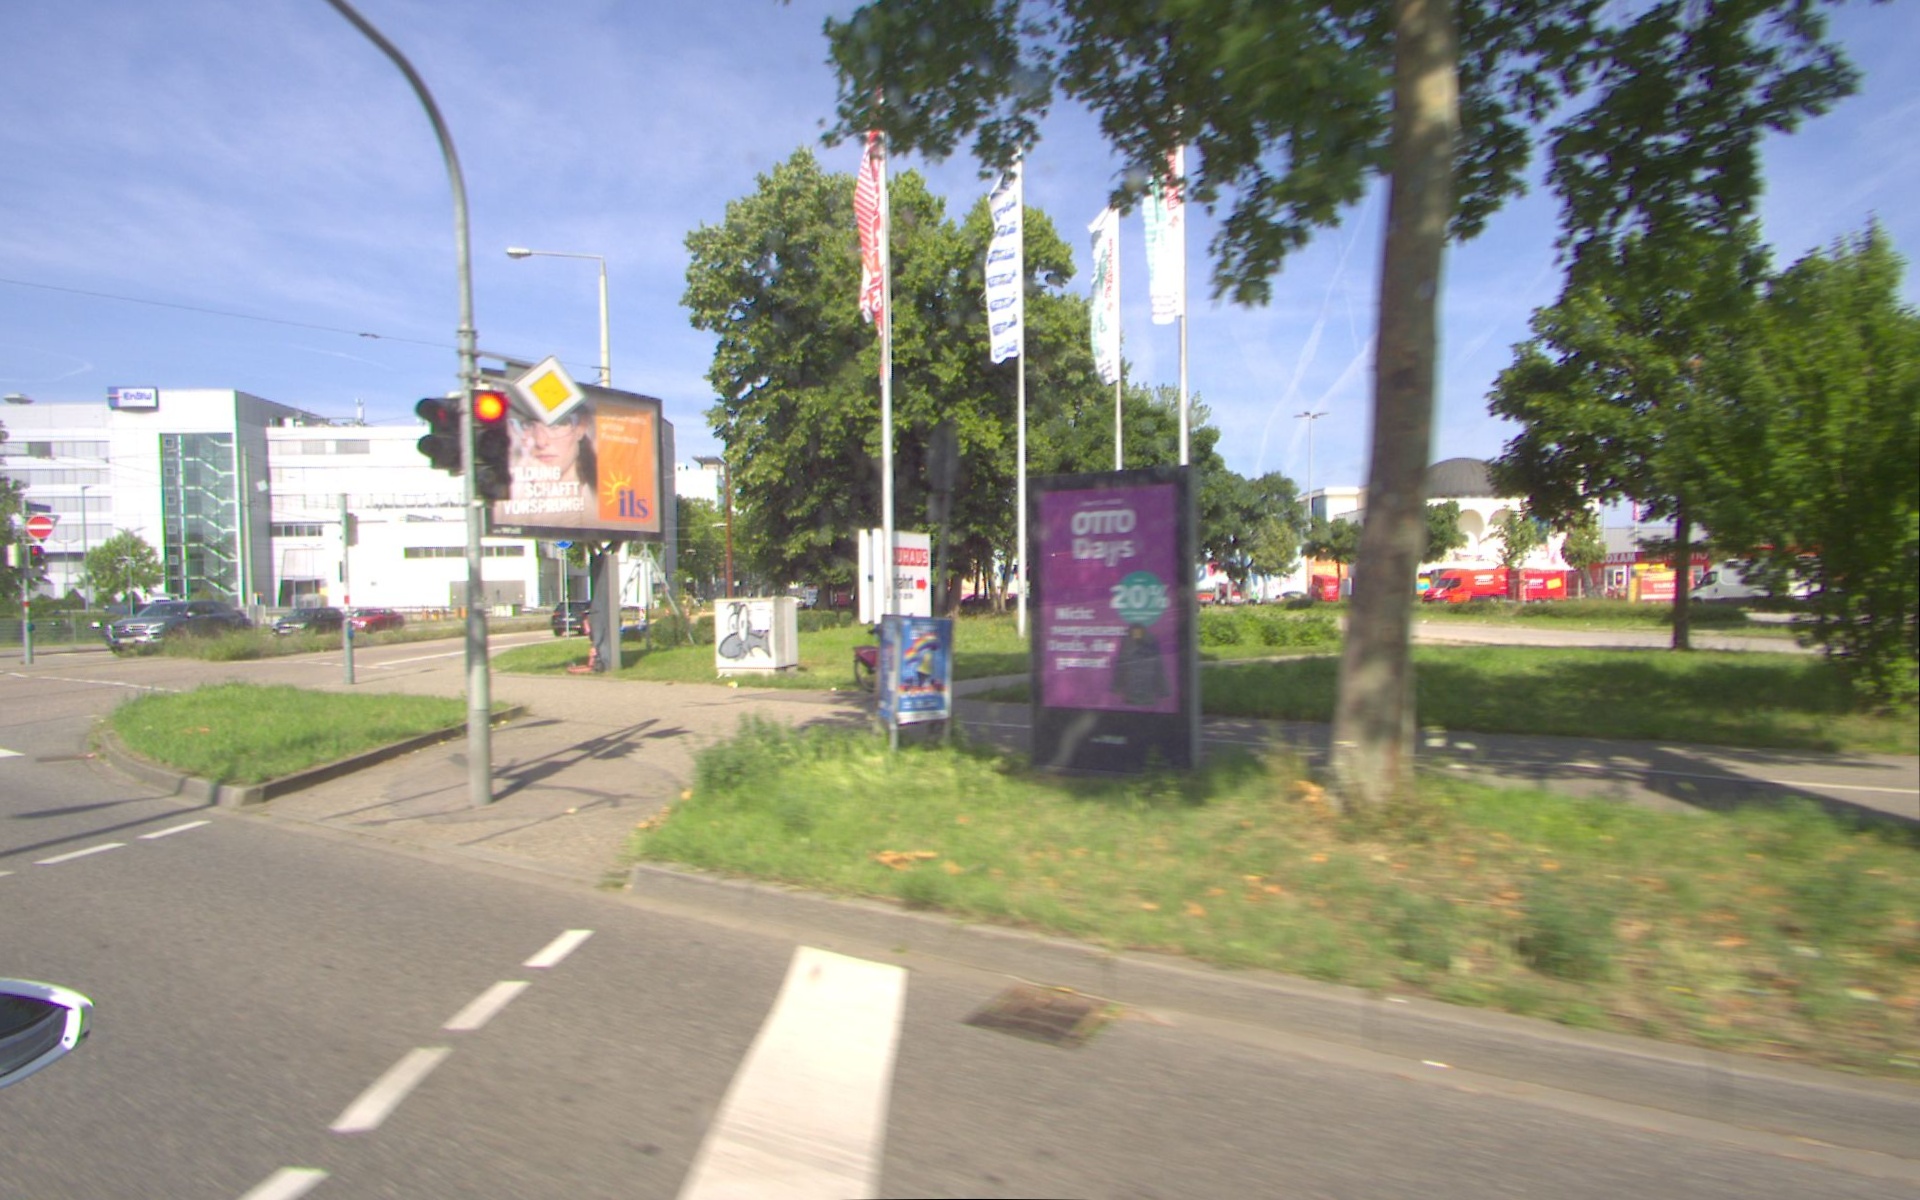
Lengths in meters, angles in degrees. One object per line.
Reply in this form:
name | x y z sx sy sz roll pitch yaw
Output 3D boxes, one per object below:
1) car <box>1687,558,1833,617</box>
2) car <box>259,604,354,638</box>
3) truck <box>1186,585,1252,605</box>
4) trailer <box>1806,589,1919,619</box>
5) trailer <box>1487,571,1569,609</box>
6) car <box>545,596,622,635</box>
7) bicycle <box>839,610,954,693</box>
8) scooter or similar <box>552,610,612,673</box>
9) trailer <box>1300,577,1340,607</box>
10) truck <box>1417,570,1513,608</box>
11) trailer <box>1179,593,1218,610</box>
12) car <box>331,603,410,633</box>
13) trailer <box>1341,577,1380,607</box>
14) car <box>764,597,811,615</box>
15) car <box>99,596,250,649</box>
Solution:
car | 38.064 -0.579 47.881 1.980 2.576 5.686 -3 0 -6
car | -31.202 0.965 47.963 1.747 1.463 4.625 -1 0 -4
truck | 25.425 -0.501 98.455 5.889 1.855 2.188 0 -1 -3
trailer | 38.536 0.148 42.297 2.029 1.137 4.030 -3 0 -3
trailer | 36.889 -0.641 65.098 4.325 2.409 1.751 0 2 -1
car | -15.768 0.611 42.166 1.815 1.530 4.393 -1 0 -4
bicycle | -0.943 0.753 15.262 1.771 1.123 0.499 -3 2 -40
scooter or similar | -7.070 0.772 18.716 1.107 1.141 0.423 0 1 31
trailer | 29.952 -0.653 83.386 1.560 2.409 4.409 0 1 -2
truck | 35.658 -0.760 70.821 5.914 2.644 2.018 0 1 -7
trailer | 19.294 0.137 81.129 1.560 1.304 4.409 -1 0 -8
car | -31.476 0.948 53.606 1.747 1.463 4.625 -1 0 -4
trailer | 33.104 -0.672 82.799 1.520 2.390 4.410 0 1 1
car | -17.382 0.591 101.084 4.537 1.711 1.915 -1 1 -5
car | -27.480 0.747 35.248 1.879 1.711 4.625 -1 0 -4
